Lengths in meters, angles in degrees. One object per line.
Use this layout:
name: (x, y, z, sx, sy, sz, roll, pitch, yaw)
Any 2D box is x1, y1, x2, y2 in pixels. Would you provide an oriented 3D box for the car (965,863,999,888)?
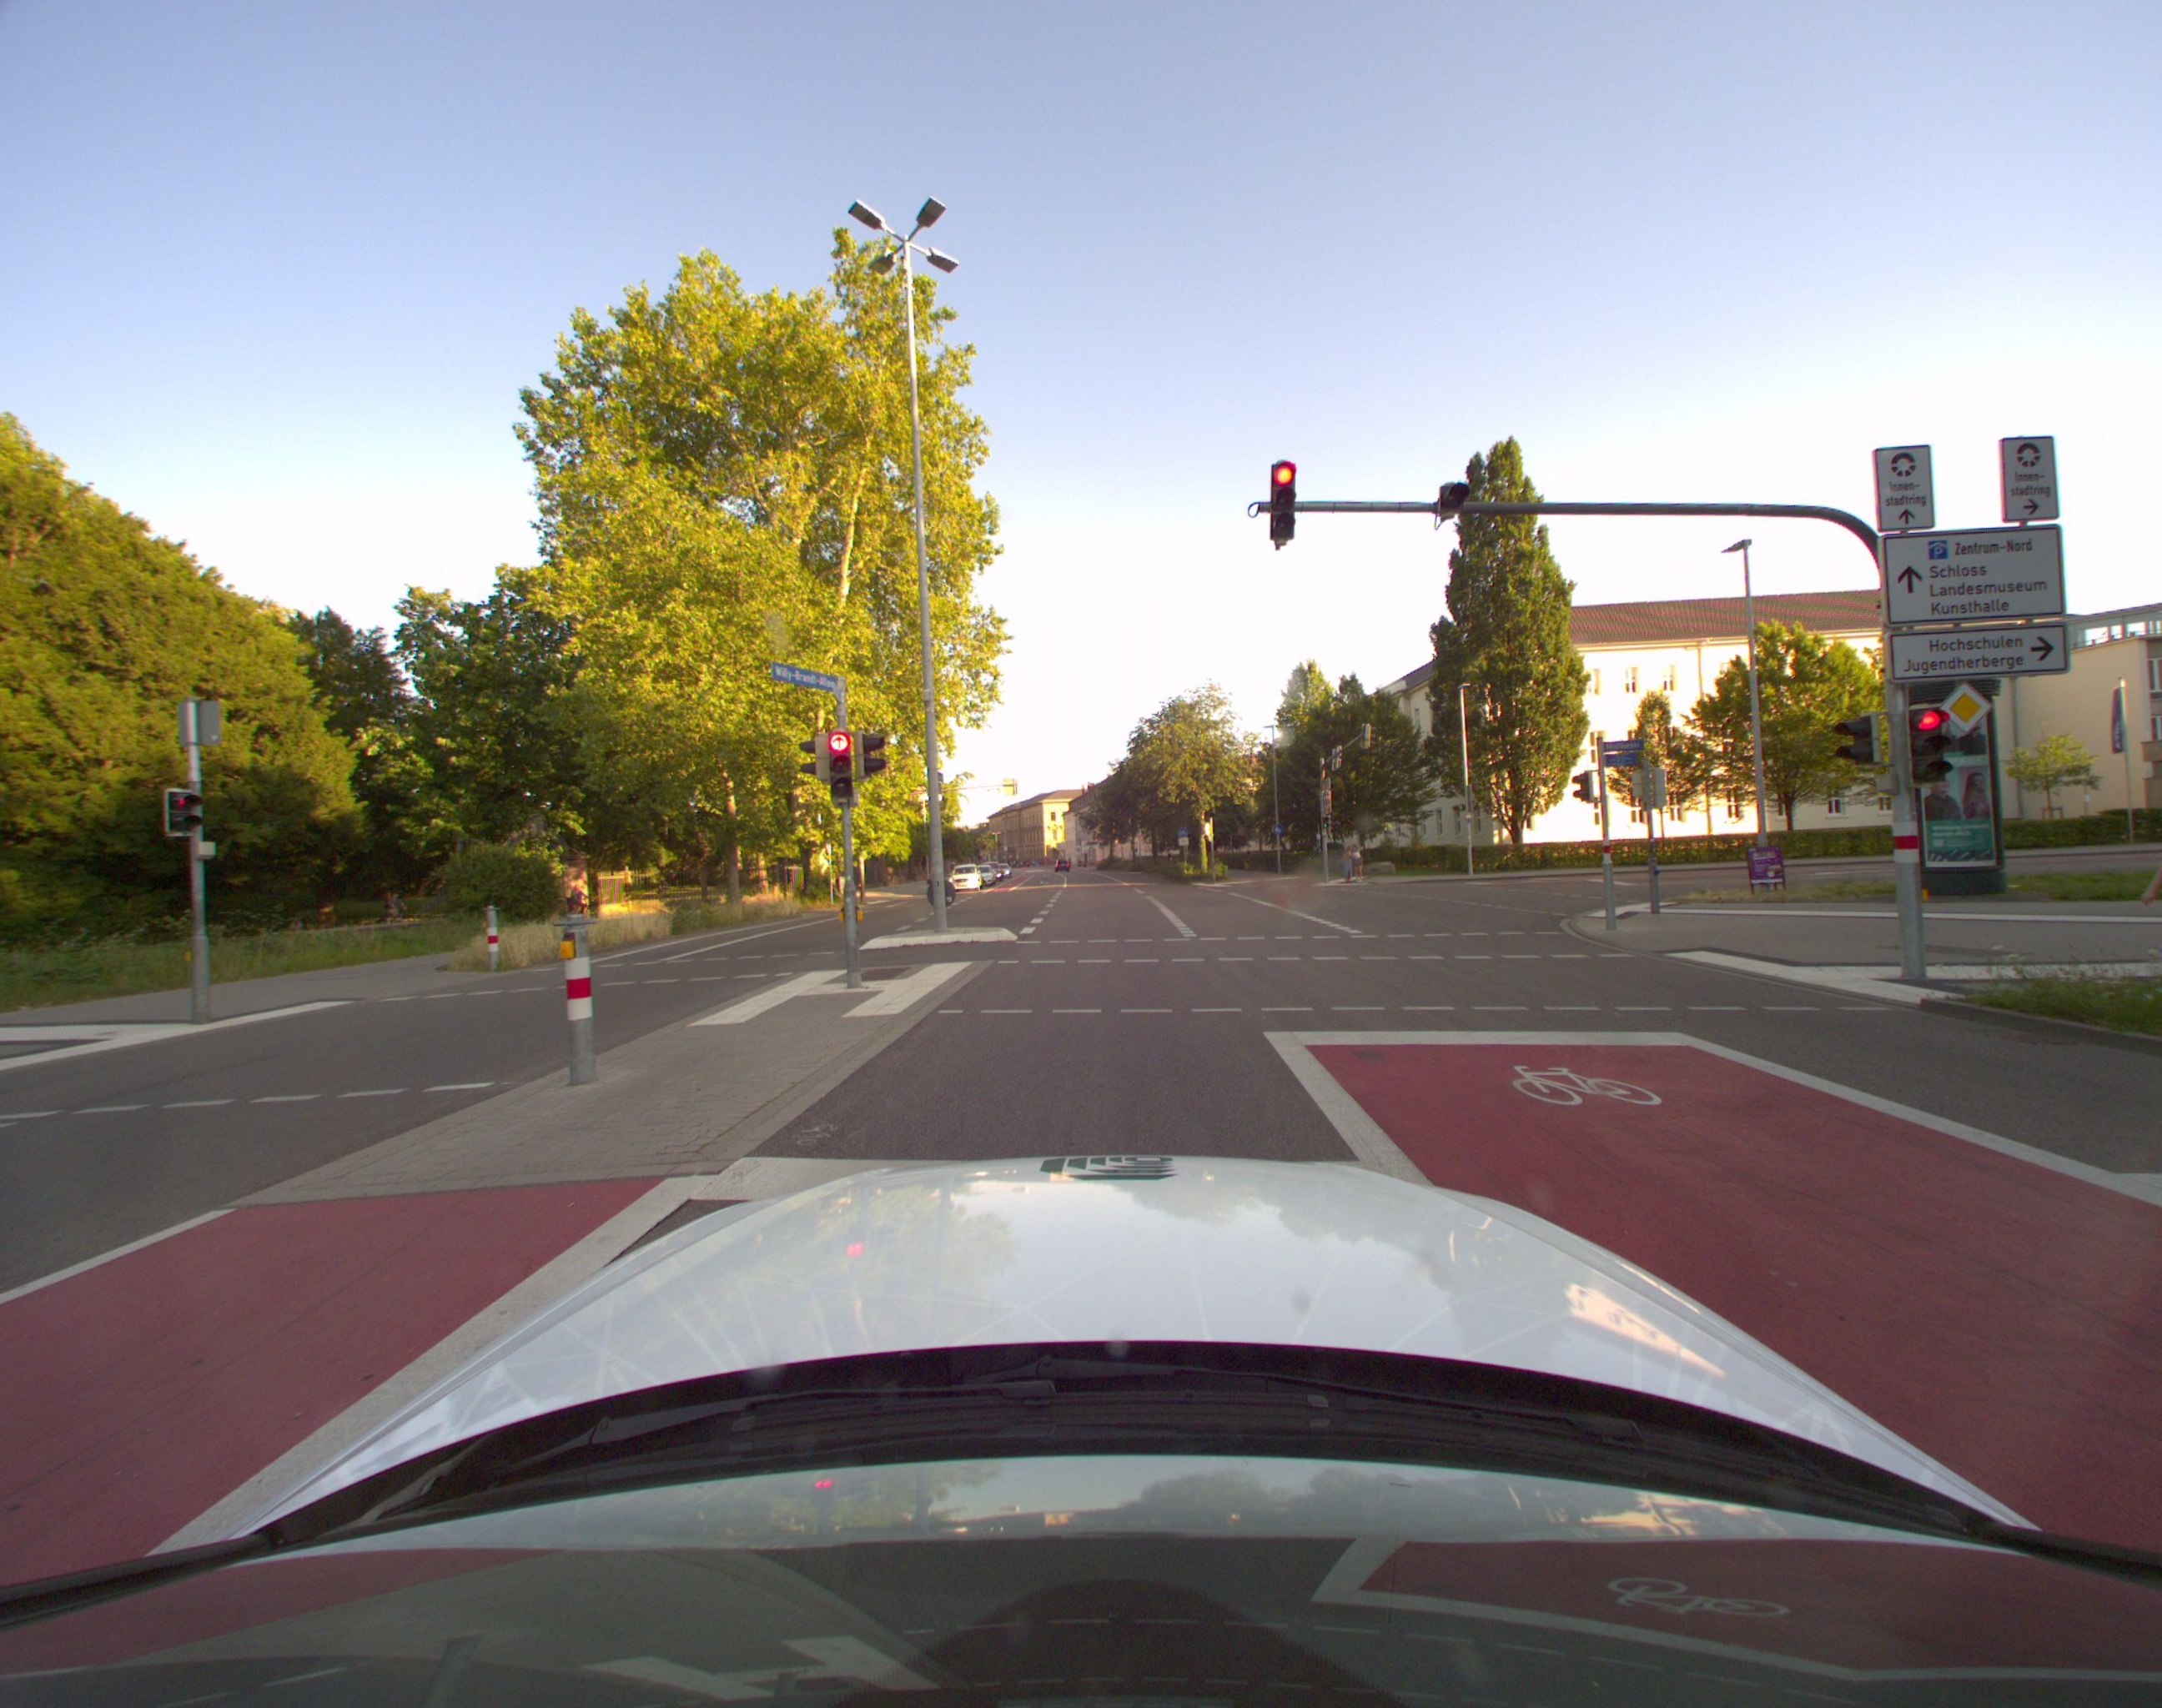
car: (-7.074, 1.514, 58.670, 1.912, 1.583, 4.670, -5, 0, -2)

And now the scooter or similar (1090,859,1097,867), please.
scooter or similar: (2.259, 1.658, 145.506, 0.630, 1.337, 2.390, -2, -1, -12)

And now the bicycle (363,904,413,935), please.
bicycle: (-31.313, 2.958, 36.818, 1.626, 1.229, 0.571, -3, 0, -9)

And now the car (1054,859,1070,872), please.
car: (-2.320, 1.388, 99.183, 1.862, 1.510, 3.999, -2, -1, 0)

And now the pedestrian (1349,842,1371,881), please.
pedestrian: (12.588, 0.332, 36.723, 0.678, 1.754, 0.689, -3, 0, 1)

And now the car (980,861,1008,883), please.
car: (-7.311, 1.487, 68.932, 1.912, 1.624, 4.635, -5, 0, -2)

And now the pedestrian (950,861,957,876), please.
pedestrian: (-14.482, 1.617, 92.464, 0.678, 1.622, 0.689, -3, 0, 1)

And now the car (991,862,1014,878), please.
car: (-7.735, 1.573, 80.801, 1.912, 1.417, 4.766, -5, 0, -2)

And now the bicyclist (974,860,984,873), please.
bicyclist: (-11.054, 1.339, 87.925, 0.852, 1.431, 0.944, -3, 0, 2)

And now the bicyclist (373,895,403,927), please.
bicyclist: (-31.343, 2.555, 36.843, 0.836, 1.361, 0.571, -3, -1, -9)

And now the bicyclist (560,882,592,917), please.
bicyclist: (-21.541, 1.930, 34.741, 0.880, 1.427, 0.797, -3, -1, 34)

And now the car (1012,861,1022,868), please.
car: (-14.442, 2.292, 183.987, 1.915, 1.417, 4.756, -5, 0, -8)

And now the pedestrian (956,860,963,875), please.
pedestrian: (-13.768, 1.564, 92.407, 0.679, 1.622, 0.688, -3, 0, -2)

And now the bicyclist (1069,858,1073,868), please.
bicyclist: (-1.534, 1.443, 128.746, 0.650, 1.475, 0.940, 0, -1, -2)

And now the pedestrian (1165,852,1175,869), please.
pedestrian: (9.342, 0.658, 85.260, 0.769, 1.739, 0.805, -3, 0, -8)

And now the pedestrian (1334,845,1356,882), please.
pedestrian: (11.889, 0.428, 36.737, 0.678, 1.622, 0.845, -3, 0, 1)

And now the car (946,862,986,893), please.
car: (-7.085, 1.429, 50.679, 1.912, 1.695, 4.422, -5, 0, -2)

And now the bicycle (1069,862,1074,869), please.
bicycle: (-1.531, 1.798, 128.804, 0.650, 1.015, 2.196, 0, -1, -2)

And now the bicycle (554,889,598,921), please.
bicycle: (-21.532, 2.175, 34.715, 1.954, 1.256, 0.797, -3, -1, 34)

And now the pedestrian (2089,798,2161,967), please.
pedestrian: (10.963, 0.263, 8.145, 0.716, 1.660, 0.777, -3, 0, 2)

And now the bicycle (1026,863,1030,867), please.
bicycle: (-12.279, 2.599, 188.881, 0.651, 1.015, 2.192, 0, -1, -7)

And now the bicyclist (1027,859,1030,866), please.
bicyclist: (-12.277, 2.037, 188.841, 0.651, 1.698, 0.955, 0, -1, -7)
